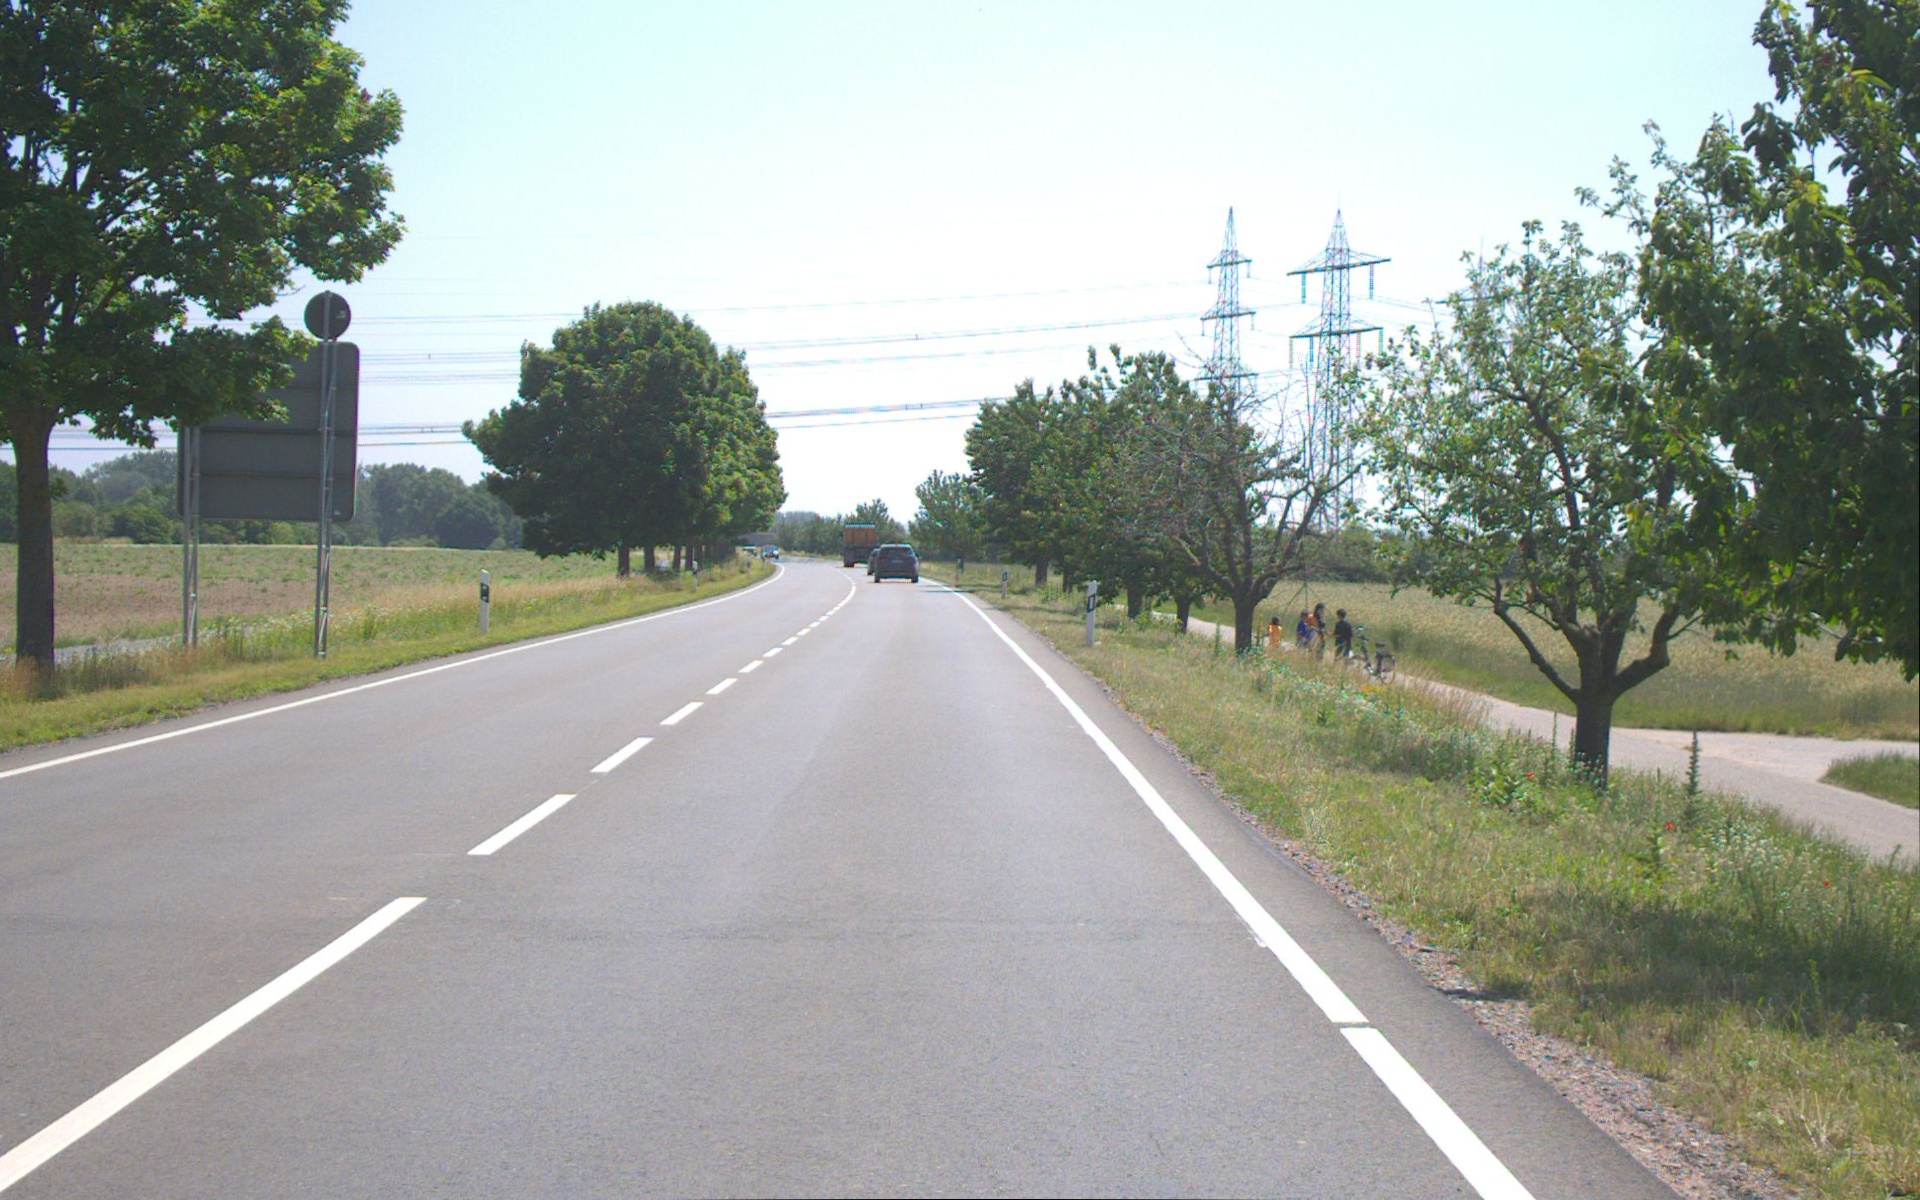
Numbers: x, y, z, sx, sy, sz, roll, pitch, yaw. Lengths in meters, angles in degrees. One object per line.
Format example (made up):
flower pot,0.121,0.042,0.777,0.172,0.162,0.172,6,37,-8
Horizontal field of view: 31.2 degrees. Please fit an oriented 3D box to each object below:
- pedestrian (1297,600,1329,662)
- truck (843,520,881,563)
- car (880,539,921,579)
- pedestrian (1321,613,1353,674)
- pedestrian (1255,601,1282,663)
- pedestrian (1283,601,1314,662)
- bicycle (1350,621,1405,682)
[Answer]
pedestrian,7.604,0.663,74.019,0.487,1.309,0.441,2,1,42
truck,-7.397,-4.421,258.158,2.370,3.129,8.749,2,1,-4
car,-2.602,-1.777,149.895,1.714,1.688,3.989,1,1,-1
pedestrian,8.003,0.919,73.017,0.487,1.291,0.441,2,1,45
pedestrian,6.542,0.679,72.963,0.440,1.291,0.487,1,1,-8
pedestrian,7.250,0.673,73.592,0.486,1.291,0.441,2,1,32
bicycle,8.519,1.049,70.146,0.475,1.161,1.683,1,1,-15
